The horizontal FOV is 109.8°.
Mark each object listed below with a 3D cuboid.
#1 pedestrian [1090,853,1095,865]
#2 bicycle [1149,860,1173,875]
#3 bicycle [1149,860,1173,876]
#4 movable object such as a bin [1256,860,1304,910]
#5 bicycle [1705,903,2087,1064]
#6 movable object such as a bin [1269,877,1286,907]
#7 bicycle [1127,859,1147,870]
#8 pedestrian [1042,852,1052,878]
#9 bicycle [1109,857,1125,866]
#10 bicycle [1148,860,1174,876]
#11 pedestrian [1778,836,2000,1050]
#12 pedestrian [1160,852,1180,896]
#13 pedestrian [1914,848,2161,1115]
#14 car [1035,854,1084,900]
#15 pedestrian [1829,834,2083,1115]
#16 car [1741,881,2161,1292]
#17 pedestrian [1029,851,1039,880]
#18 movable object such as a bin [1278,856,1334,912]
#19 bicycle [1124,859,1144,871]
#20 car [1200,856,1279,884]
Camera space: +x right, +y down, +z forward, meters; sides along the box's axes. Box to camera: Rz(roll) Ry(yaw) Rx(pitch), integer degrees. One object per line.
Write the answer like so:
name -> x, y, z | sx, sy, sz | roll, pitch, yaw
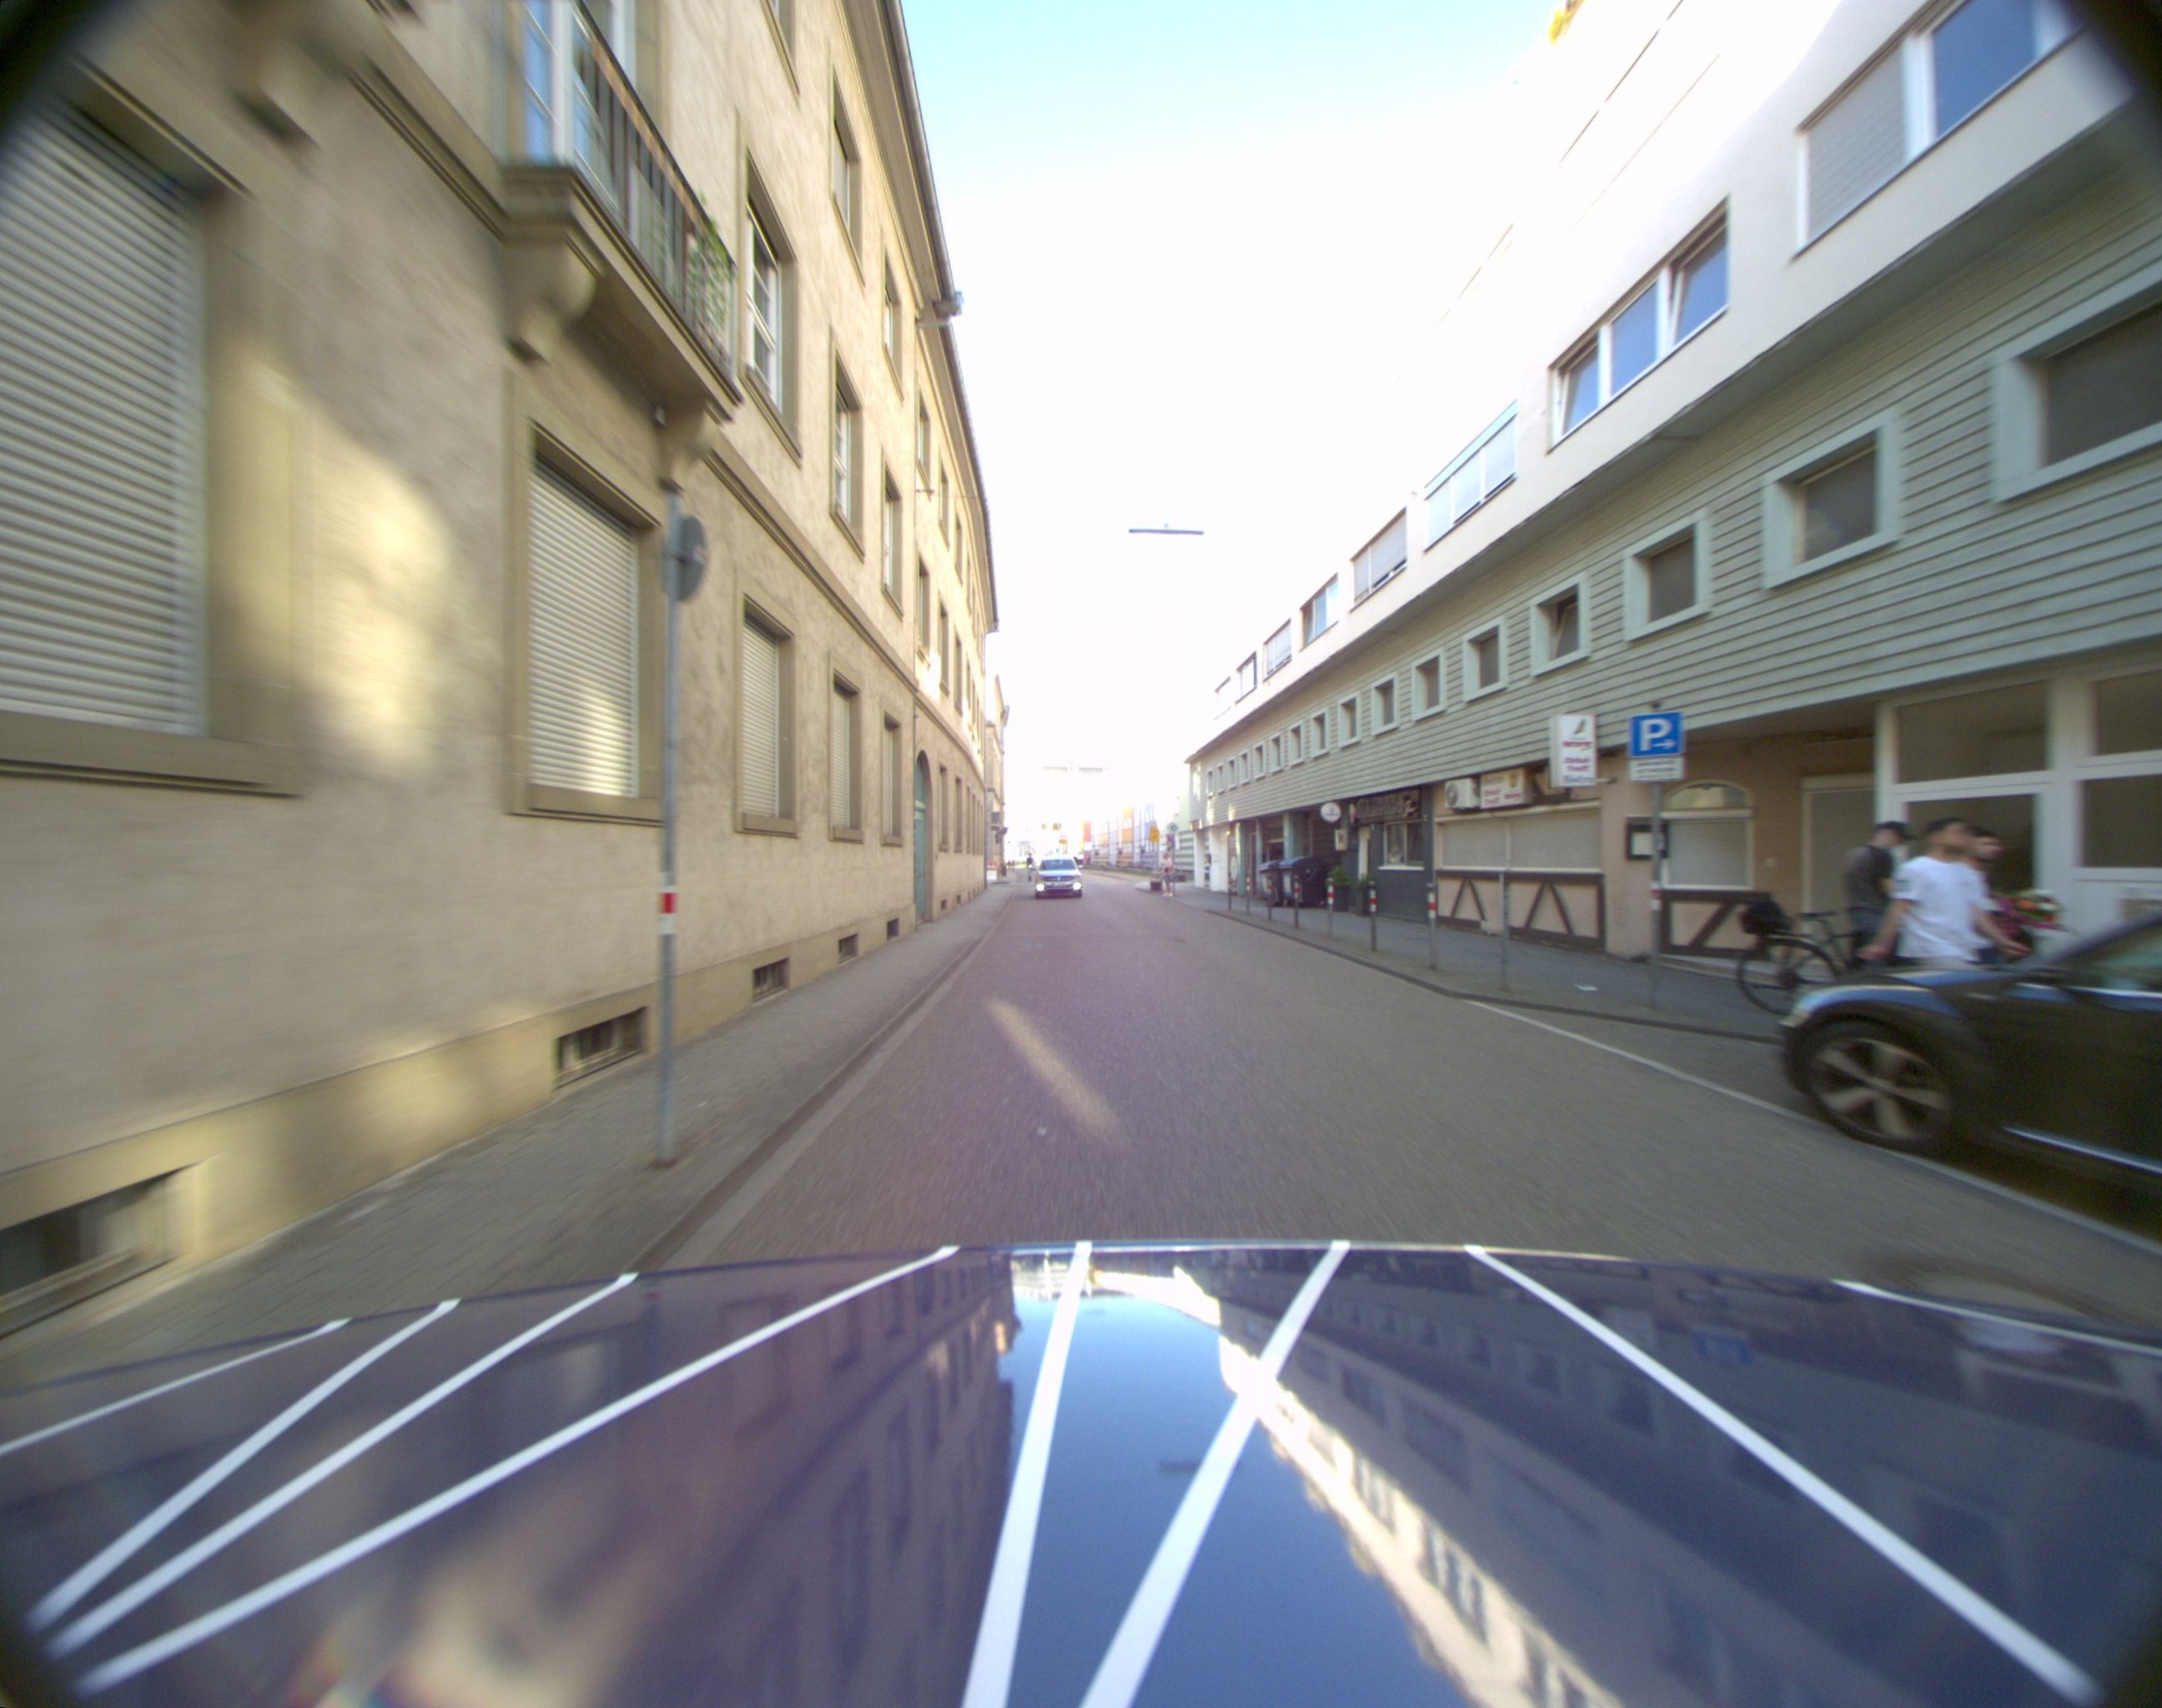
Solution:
pedestrian -> 1.532, 0.658, 103.691 | 0.612, 1.641, 0.447 | 0, 1, -10
bicycle -> 6.235, 1.057, 59.123 | 1.739, 1.094, 0.388 | -4, 1, -11
bicycle -> 6.182, 1.060, 58.714 | 1.739, 1.094, 0.388 | -4, 1, -11
movable object such as a bin -> 5.994, 0.920, 22.951 | 0.971, 1.462, 1.474 | 0, -1, -3
bicycle -> 6.955, 1.052, 6.666 | 2.130, 1.156, 0.825 | 0, 0, 21
movable object such as a bin -> 6.187, 1.204, 23.971 | 0.394, 0.936, 0.467 | 0, 0, -3
bicycle -> 5.281, 0.969, 71.845 | 1.803, 0.940, 0.388 | -4, 1, -4
pedestrian -> -2.357, 0.745, 52.543 | 0.603, 1.770, 0.651 | 0, 0, -5
bicycle -> 4.157, 0.868, 87.789 | 1.808, 0.977, 0.653 | -5, 1, -7
bicycle -> 6.008, 1.046, 57.264 | 1.821, 1.094, 0.749 | -4, 1, -4
pedestrian -> 6.985, 0.713, 6.651 | 1.079, 1.718, 0.803 | 0, 1, 21
pedestrian -> 3.466, 0.774, 29.633 | 0.494, 1.660, 0.627 | -3, 1, -16
pedestrian -> 6.520, 0.796, 5.175 | 0.674, 1.660, 0.894 | 1, 1, -1
car -> -0.789, 0.835, 29.881 | 1.683, 1.568, 4.242 | -3, 0, 0
pedestrian -> 5.800, 0.748, 5.097 | 0.700, 1.724, 0.829 | 1, 1, -1
car -> 4.995, 0.939, 2.586 | 1.824, 1.477, 4.076 | 2, 0, -2
pedestrian -> -3.173, 0.736, 51.001 | 0.677, 1.928, 0.858 | 0, 0, -5
movable object such as a bin -> 6.289, 0.833, 21.331 | 1.125, 1.511, 1.342 | 0, -1, -3
bicycle -> 4.963, 1.042, 71.131 | 1.803, 0.940, 0.388 | -4, 1, -4
car -> 8.712, 0.869, 41.942 | 3.943, 1.511, 1.692 | 0, 0, -5
